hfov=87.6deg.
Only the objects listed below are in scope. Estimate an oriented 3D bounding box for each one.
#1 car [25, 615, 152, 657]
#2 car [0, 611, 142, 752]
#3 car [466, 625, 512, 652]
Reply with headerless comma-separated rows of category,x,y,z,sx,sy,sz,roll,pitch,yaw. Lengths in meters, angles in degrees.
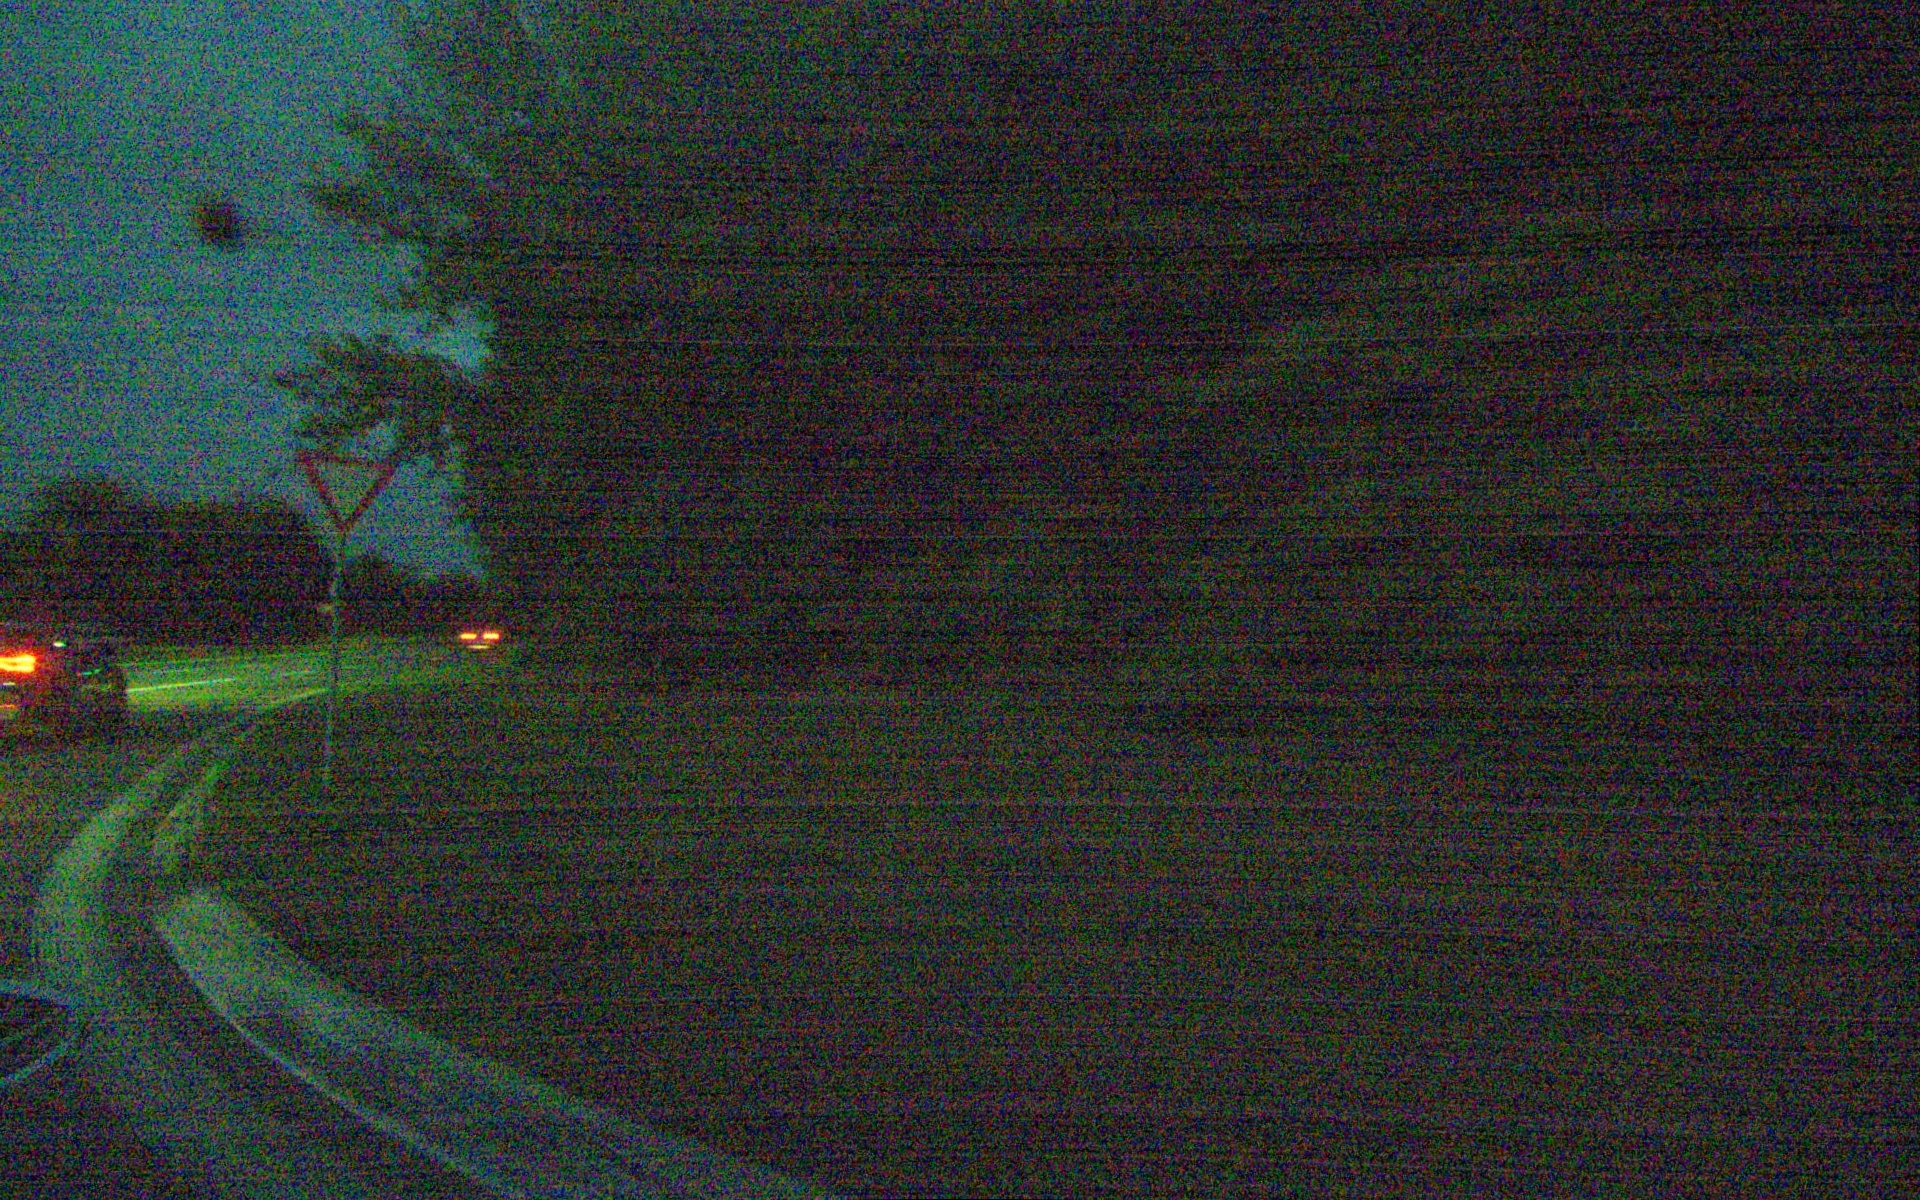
car,-35.660,1.455,41.149,1.964,1.590,4.817,-1,-1,-14
car,-12.764,0.982,13.532,1.881,1.640,4.533,3,-2,-30
car,-26.820,2.172,57.150,1.727,1.471,4.427,1,-2,-16
